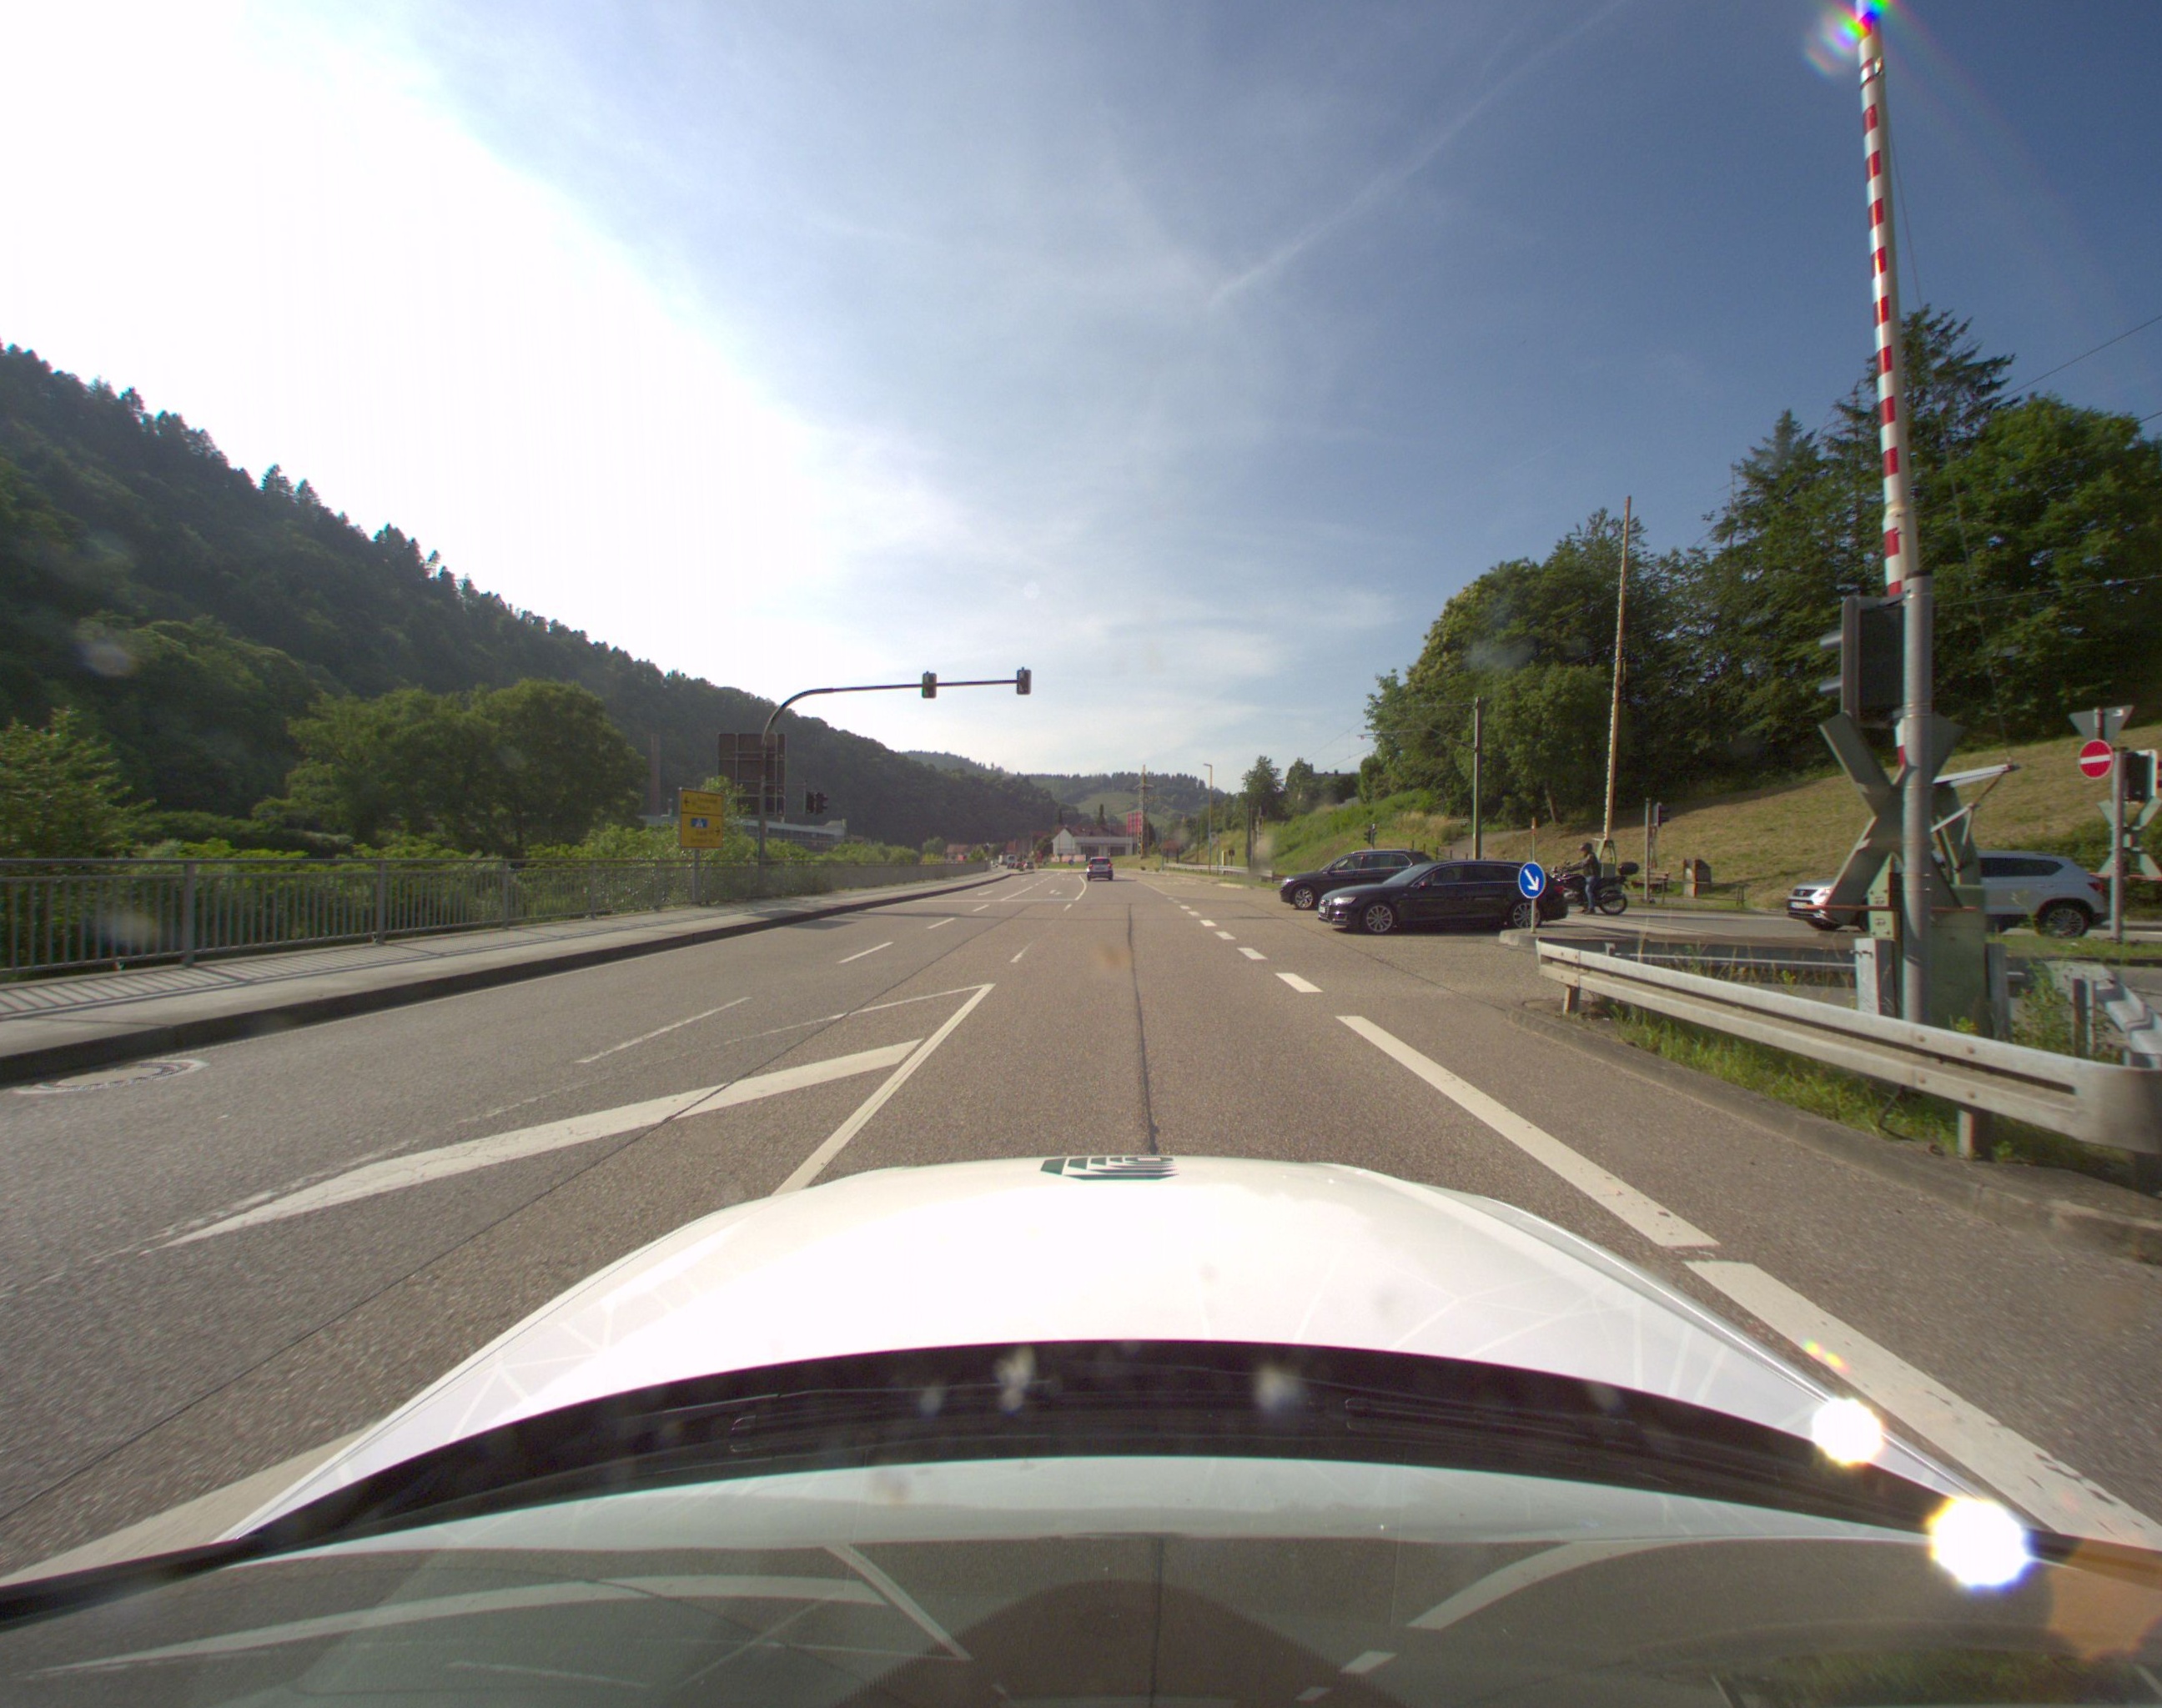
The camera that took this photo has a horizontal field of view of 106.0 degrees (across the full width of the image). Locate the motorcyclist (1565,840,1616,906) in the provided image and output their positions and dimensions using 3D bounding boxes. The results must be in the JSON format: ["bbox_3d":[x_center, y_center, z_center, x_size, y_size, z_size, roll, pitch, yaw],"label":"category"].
[{"bbox_3d":[12.695,0.467,20.313,0.899,1.597,0.769,1,0,18],"label":"motorcyclist"}]

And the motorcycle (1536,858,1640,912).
[{"bbox_3d":[12.628,0.760,20.351,2.076,1.254,0.803,1,0,19],"label":"motorcycle"}]

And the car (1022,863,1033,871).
[{"bbox_3d":[-10.095,2.430,154.243,1.457,1.435,2.919,1,0,-17],"label":"car"}]

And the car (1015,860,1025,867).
[{"bbox_3d":[-12.749,1.920,169.853,1.457,1.435,2.918,1,0,-18],"label":"car"}]

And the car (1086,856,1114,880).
[{"bbox_3d":[1.372,0.996,57.654,1.854,1.544,4.374,1,-1,1],"label":"car"}]

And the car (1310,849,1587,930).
[{"bbox_3d":[7.169,0.678,16.288,4.706,1.470,1.843,-1,0,3],"label":"car"}]

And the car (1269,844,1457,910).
[{"bbox_3d":[7.796,0.604,22.585,4.682,1.660,1.942,-1,0,27],"label":"car"}]

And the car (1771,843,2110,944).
[{"bbox_3d":[16.038,0.675,15.475,4.083,1.686,1.842,1,0,14],"label":"car"}]

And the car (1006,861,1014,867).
[{"bbox_3d":[-17.259,2.407,197.917,1.457,1.435,2.918,1,0,-18],"label":"car"}]
